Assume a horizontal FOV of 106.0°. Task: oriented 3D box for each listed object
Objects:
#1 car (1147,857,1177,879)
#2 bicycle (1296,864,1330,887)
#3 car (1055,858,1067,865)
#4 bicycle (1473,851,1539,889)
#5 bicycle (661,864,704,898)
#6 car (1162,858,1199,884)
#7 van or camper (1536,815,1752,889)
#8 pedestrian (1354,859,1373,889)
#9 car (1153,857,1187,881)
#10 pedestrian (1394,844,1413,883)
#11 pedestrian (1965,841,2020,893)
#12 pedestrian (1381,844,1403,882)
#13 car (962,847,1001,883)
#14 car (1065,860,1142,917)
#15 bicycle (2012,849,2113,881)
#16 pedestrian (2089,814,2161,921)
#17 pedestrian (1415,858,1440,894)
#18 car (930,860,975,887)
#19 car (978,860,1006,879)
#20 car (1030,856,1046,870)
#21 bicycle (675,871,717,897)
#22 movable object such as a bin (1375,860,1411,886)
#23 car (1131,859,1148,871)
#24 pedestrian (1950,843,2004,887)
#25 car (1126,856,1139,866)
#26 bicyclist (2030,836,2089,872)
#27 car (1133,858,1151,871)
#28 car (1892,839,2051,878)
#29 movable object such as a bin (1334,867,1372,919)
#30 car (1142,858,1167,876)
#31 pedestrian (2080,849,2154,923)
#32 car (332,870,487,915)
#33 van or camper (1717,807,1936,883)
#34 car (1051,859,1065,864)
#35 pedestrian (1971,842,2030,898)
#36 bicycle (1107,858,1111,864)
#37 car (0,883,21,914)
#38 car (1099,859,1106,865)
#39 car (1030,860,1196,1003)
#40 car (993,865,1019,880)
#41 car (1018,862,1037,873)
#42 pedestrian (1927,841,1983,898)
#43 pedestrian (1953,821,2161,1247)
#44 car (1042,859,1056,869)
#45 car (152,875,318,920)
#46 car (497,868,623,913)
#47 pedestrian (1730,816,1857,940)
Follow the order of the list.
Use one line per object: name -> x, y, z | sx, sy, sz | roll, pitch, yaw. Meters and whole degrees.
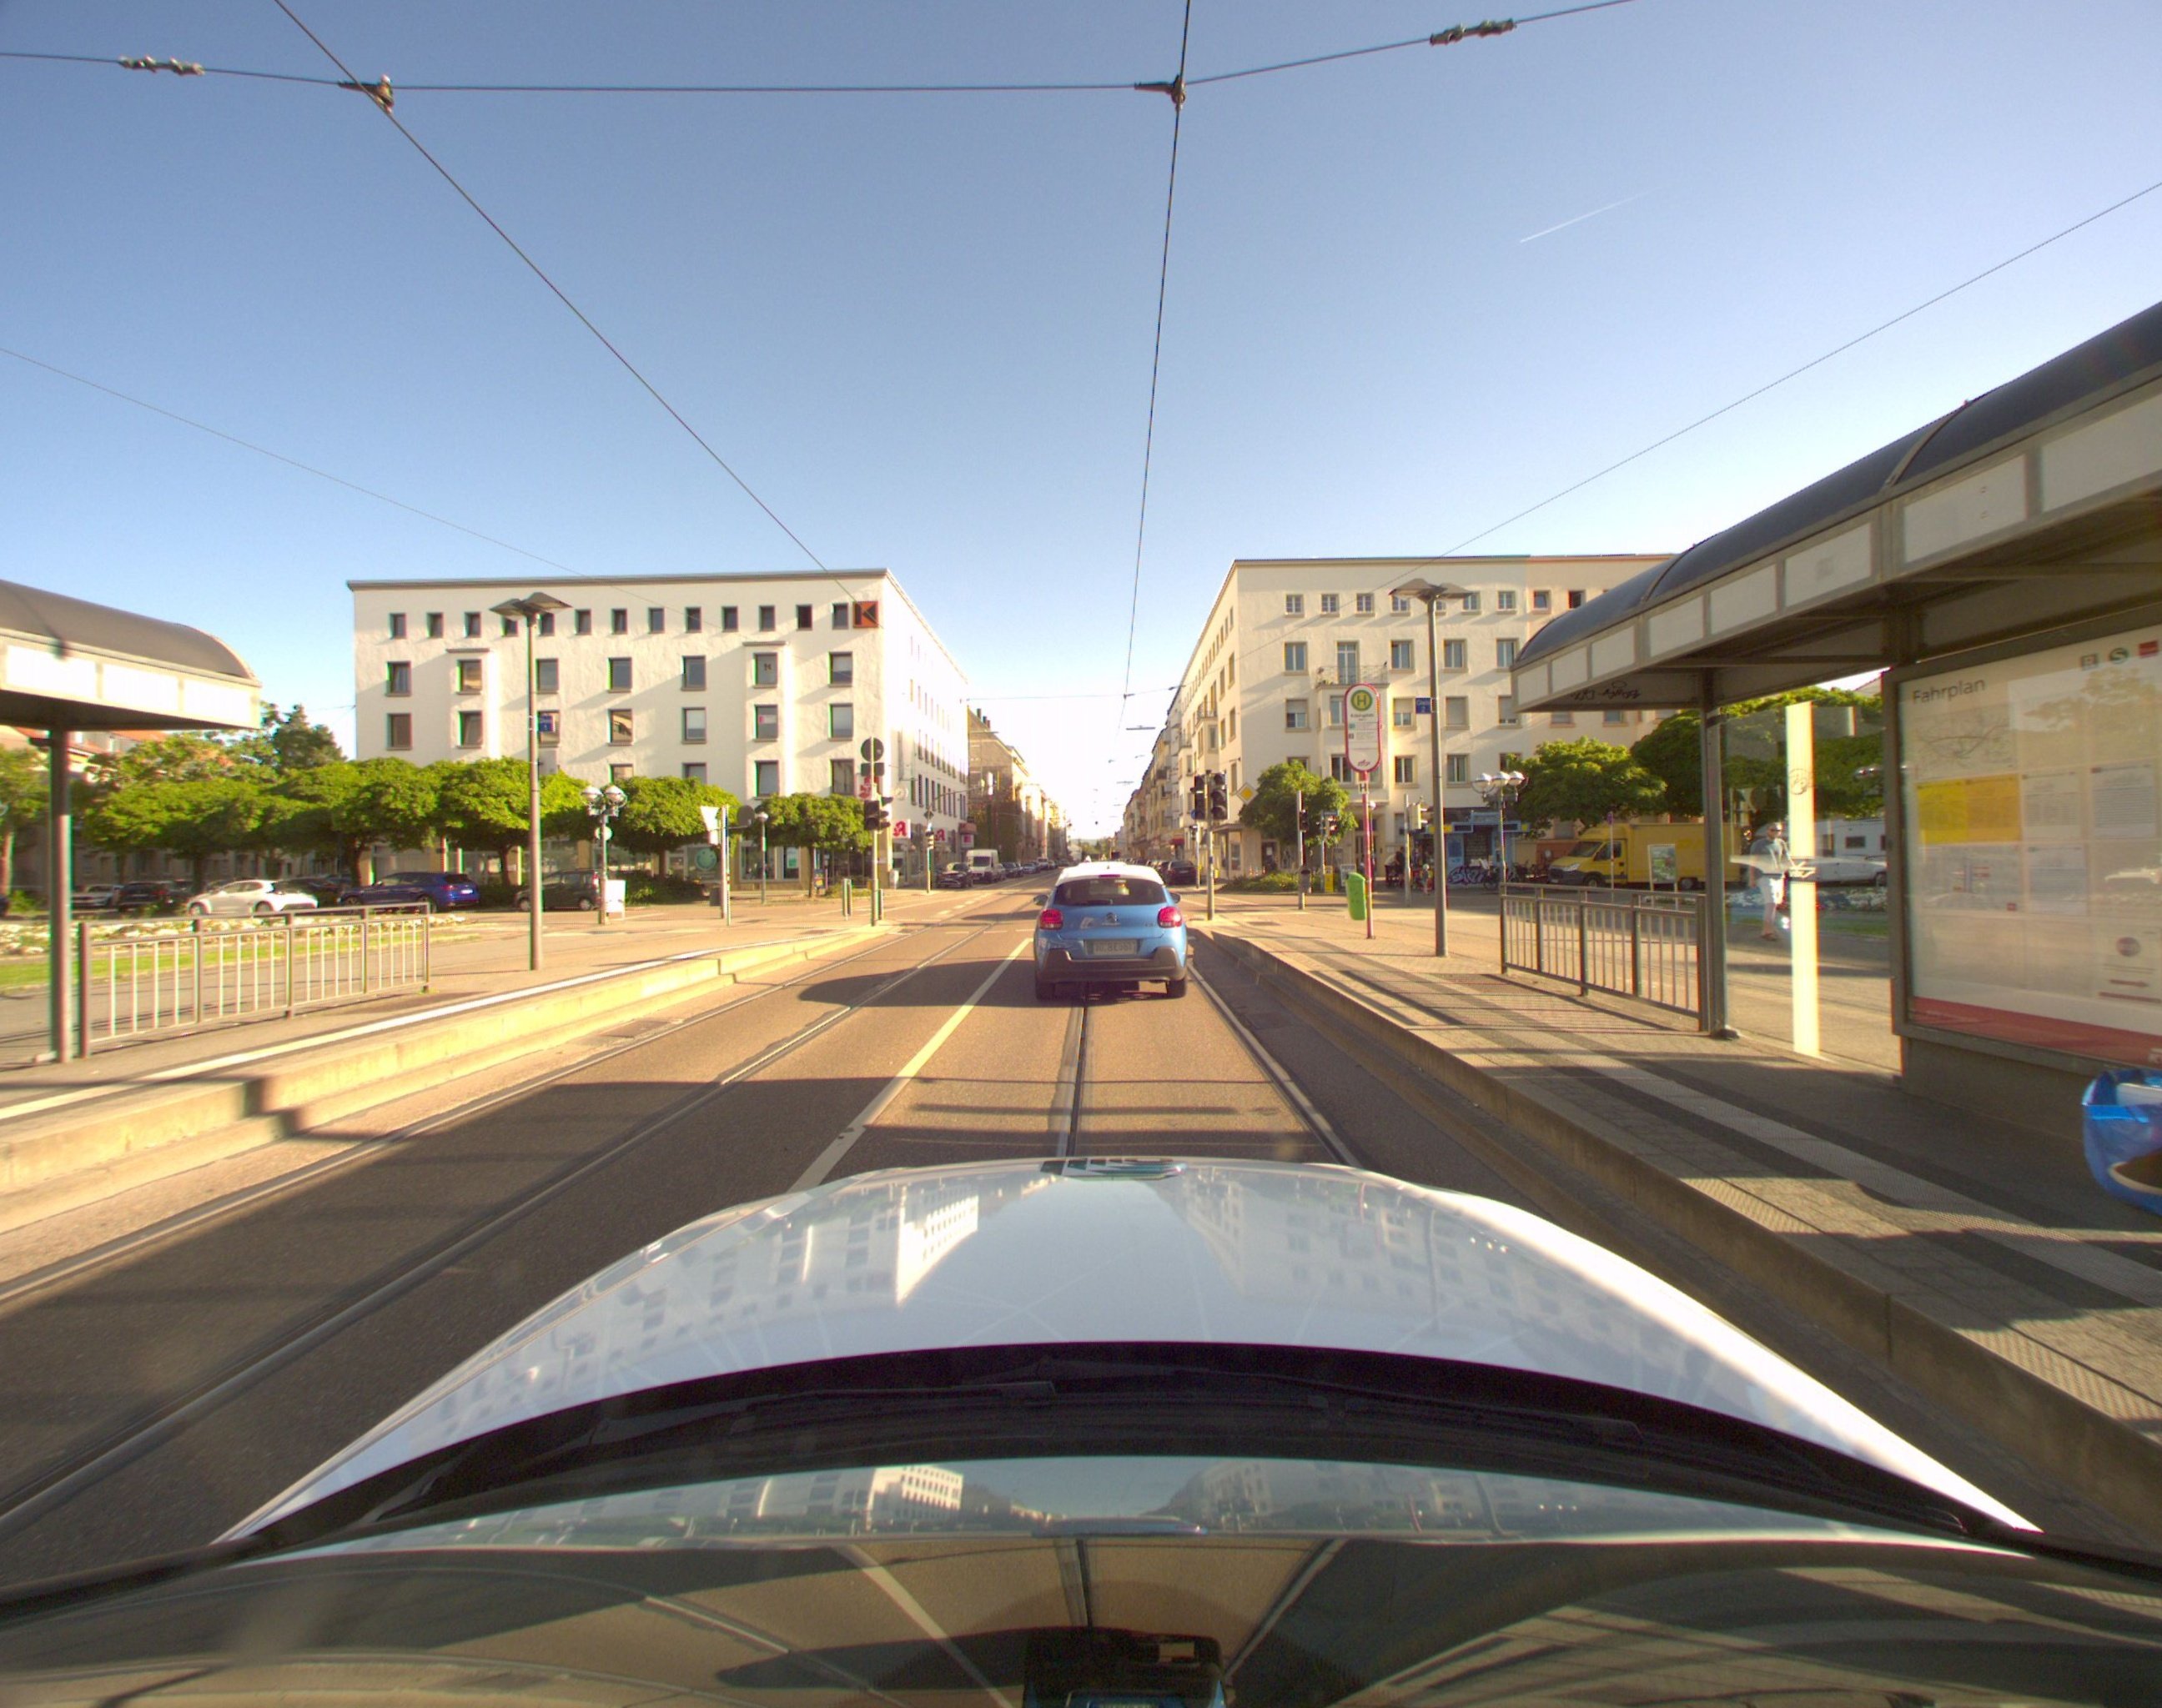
car -> 5.940, 1.011, 59.995 | 1.986, 1.501, 4.002 | -1, -1, 2
bicycle -> 11.289, 1.051, 39.615 | 1.556, 1.120, 0.301 | -1, -1, 12
car -> -3.730, 1.348, 151.631 | 1.986, 1.156, 4.002 | -1, 0, 2
bicycle -> 17.589, 0.672, 33.714 | 2.376, 1.531, 0.726 | 0, 0, 0
bicycle -> -19.968, 1.335, 40.840 | 0.615, 1.607, 2.624 | -1, -1, 6
car -> 6.031, 1.002, 49.553 | 1.902, 1.464, 4.002 | -1, -1, 2
van or camper -> 22.727, -0.082, 33.133 | 7.093, 2.747, 2.372 | -1, 1, 2
pedestrian -> 12.511, 0.868, 36.054 | 0.733, 1.316, 0.631 | -1, -1, 25
car -> 5.916, 0.982, 54.805 | 1.986, 1.464, 4.002 | -1, -1, 2
pedestrian -> 15.167, 0.450, 38.316 | 0.650, 1.839, 0.660 | -1, -1, 5
pedestrian -> 28.261, 0.396, 25.262 | 0.897, 1.585, 0.663 | -1, -1, 5
pedestrian -> 15.046, 0.426, 39.445 | 0.781, 1.839, 0.679 | -1, -1, 5
car -> -7.281, 0.781, 60.224 | 2.078, 2.542, 6.205 | 0, 0, 1
car -> 0.657, 0.916, 23.513 | 1.977, 1.464, 4.817 | -1, 0, 1
bicycle -> 34.173, 0.375, 28.386 | 2.300, 1.061, 0.723 | 0, 0, 12
pedestrian -> 17.465, 0.226, 13.601 | 0.554, 1.745, 0.528 | -1, -1, 12
pedestrian -> 14.193, 0.890, 33.365 | 0.727, 1.409, 0.755 | -1, 2, 1
car -> -7.802, 1.179, 49.863 | 1.987, 1.569, 4.403 | 2, -1, 1
car -> -7.274, 1.292, 66.917 | 1.881, 1.496, 3.562 | 0, -1, 1
car -> -6.551, 1.348, 124.432 | 1.997, 2.014, 4.693 | 0, -1, 3
bicycle -> -19.245, 1.474, 40.798 | 0.615, 1.190, 2.624 | -1, -1, 5
movable object such as a bin -> 14.242, 0.856, 37.183 | 1.194, 1.153, 1.218 | -1, -1, 2
car -> 7.515, 1.422, 104.400 | 1.986, 1.464, 4.002 | -1, -1, 2
pedestrian -> 26.531, 0.333, 24.128 | 0.897, 1.279, 0.605 | -1, -1, 4
car -> 8.247, 1.089, 130.350 | 1.986, 1.464, 4.002 | -1, -1, 2
bicyclist -> 34.078, -0.006, 28.387 | 0.924, 1.225, 0.957 | 0, 0, 13
car -> 7.406, 1.240, 99.206 | 1.986, 1.464, 4.507 | -1, 0, 2
car -> 36.537, 0.198, 33.546 | 3.959, 1.512, 2.007 | -1, -1, 13
movable object such as a bin -> 4.249, 0.608, 12.729 | 0.447, 0.786, 0.489 | -1, -1, 4
car -> 6.278, 1.140, 70.043 | 1.986, 1.464, 4.002 | -1, -1, 2
pedestrian -> 16.805, 0.513, 13.224 | 0.466, 1.169, 0.559 | 0, -1, 10
car -> -27.315, 1.550, 33.256 | 4.591, 1.662, 1.999 | -1, -1, -1
van or camper -> 29.891, -0.330, 32.871 | 6.375, 2.839, 2.381 | -1, -1, 5
car -> -5.147, 1.698, 182.310 | 1.981, 1.156, 4.528 | -1, 0, 11
pedestrian -> 26.463, 0.452, 23.449 | 0.897, 1.585, 0.663 | -1, -1, 5
bicycle -> 6.563, 1.633, 191.431 | 0.916, 1.389, 3.133 | -1, 0, 2
car -> -52.554, 2.140, 38.110 | 1.925, 1.494, 4.313 | 0, -1, -27
car -> 6.457, 2.385, 247.106 | 1.986, 1.772, 4.001 | -1, 0, 2
car -> 0.390, 0.822, 10.403 | 1.721, 1.482, 3.828 | 0, 0, 1
car -> -6.926, 1.717, 75.719 | 1.987, 1.398, 4.157 | 0, -1, 1
car -> -6.585, 1.651, 100.727 | 1.987, 1.325, 3.923 | 0, -1, 1
pedestrian -> 26.809, 0.472, 24.985 | 0.897, 1.685, 0.696 | -1, -1, 5
pedestrian -> 3.624, 0.532, 2.460 | 0.995, 1.225, 0.923 | 2, -1, 1
car -> -5.287, 1.694, 134.858 | 1.946, 1.552, 3.942 | 0, -1, 4
car -> -33.643, 1.722, 32.462 | 4.591, 1.606, 1.855 | -1, -1, -1
car -> -21.374, 1.464, 33.522 | 3.973, 1.706, 1.826 | -1, -1, 1
pedestrian -> 11.385, 0.384, 13.057 | 0.978, 1.878, 1.128 | -1, -2, -1
